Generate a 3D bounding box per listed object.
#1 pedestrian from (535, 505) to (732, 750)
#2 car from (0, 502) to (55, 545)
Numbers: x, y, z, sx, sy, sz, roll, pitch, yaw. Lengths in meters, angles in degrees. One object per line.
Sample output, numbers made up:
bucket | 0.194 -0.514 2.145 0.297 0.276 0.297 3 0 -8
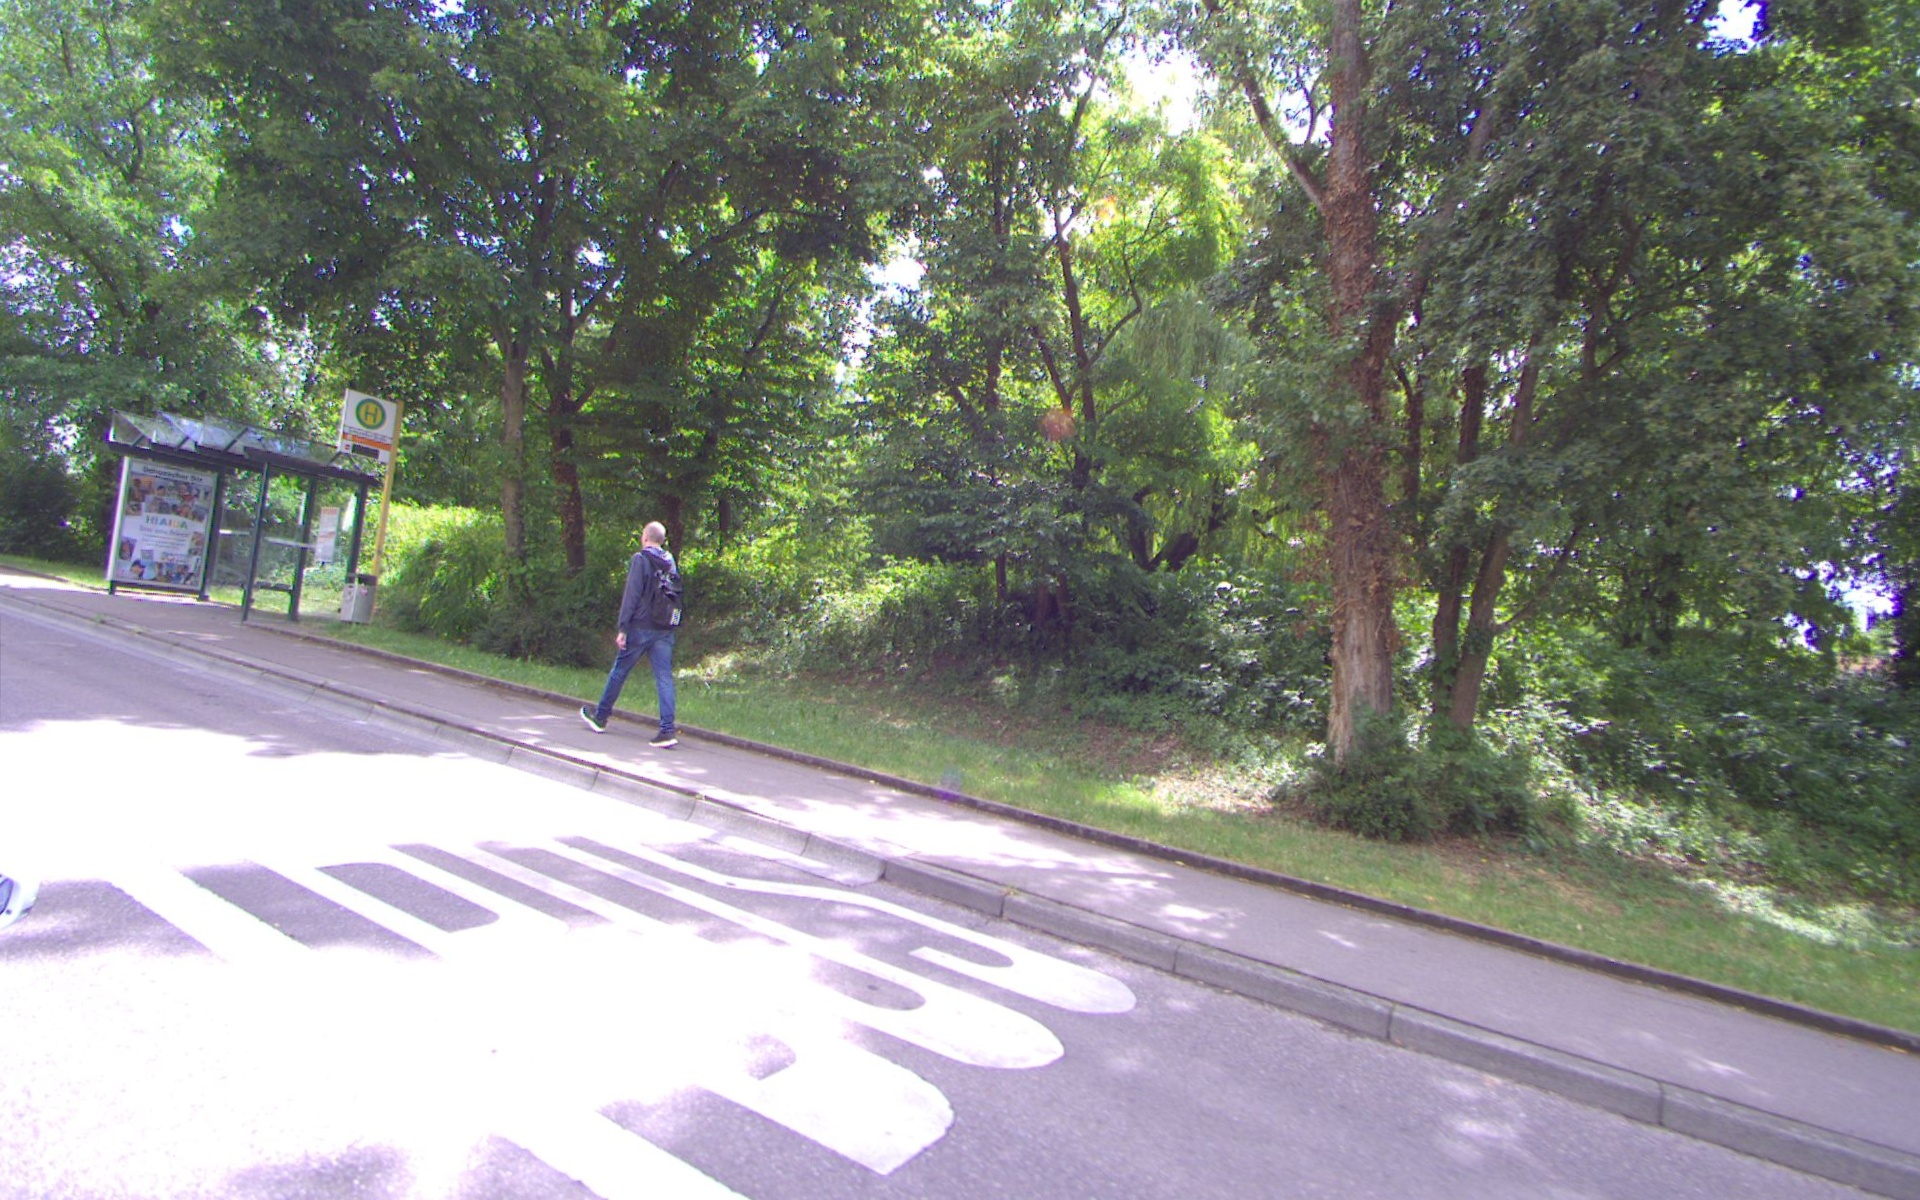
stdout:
pedestrian | -2.835 0.231 8.736 1.249 1.918 0.802 7 -1 32
car | -42.107 -3.497 43.757 1.679 1.619 3.592 7 -2 19
